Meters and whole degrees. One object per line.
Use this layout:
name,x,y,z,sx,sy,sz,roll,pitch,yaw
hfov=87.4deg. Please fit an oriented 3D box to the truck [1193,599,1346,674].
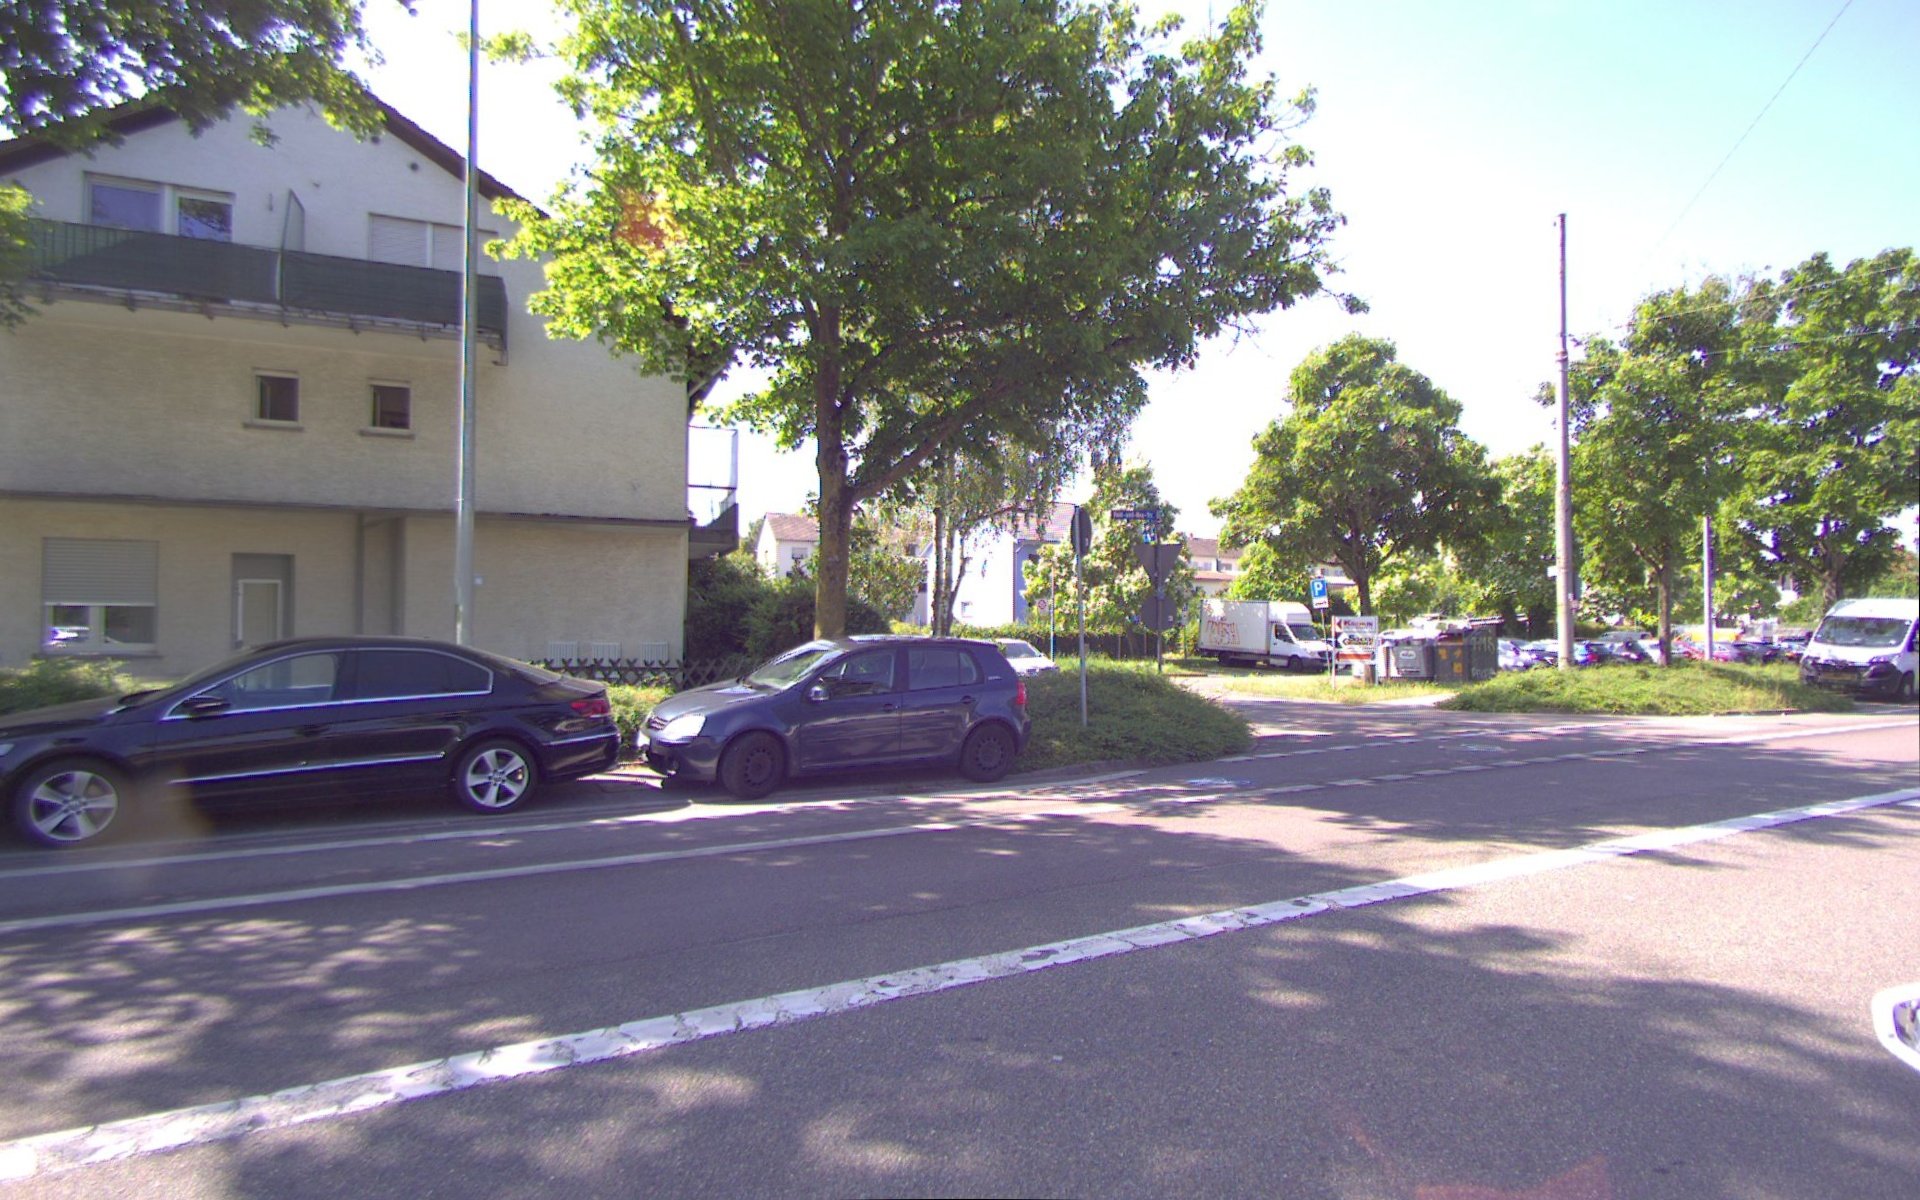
truck,14.235,1.602,46.774,2.206,3.059,7.103,1,1,-31

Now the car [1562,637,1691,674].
car,26.618,2.189,40.264,1.748,1.368,3.973,1,-2,-27

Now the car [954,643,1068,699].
car,1.362,1.946,28.447,1.687,1.437,3.979,1,-2,-23

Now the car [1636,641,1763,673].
car,31.110,2.355,42.366,1.748,1.241,3.973,1,-2,-27

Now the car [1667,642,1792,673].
car,33.342,2.447,43.628,1.748,1.241,3.973,1,-2,-27

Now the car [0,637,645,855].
car,-5.219,1.032,8.341,4.727,1.398,1.682,1,-1,-31

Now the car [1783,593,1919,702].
car,24.014,1.155,25.880,6.227,2.534,2.050,1,1,-28

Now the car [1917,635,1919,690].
car,29.384,1.789,28.745,4.148,1.536,1.835,1,-2,-30

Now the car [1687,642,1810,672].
car,35.220,2.515,44.973,1.748,1.241,3.973,1,-2,-27

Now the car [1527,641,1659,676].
car,24.382,2.211,38.832,1.748,1.241,3.973,1,-2,-27

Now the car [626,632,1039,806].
car,-1.282,1.113,10.496,3.956,1.470,1.634,2,0,-29

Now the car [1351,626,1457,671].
car,22.897,2.495,51.978,1.980,2.040,4.663,2,0,-34

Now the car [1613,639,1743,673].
car,29.059,2.253,40.781,1.748,1.281,3.973,1,-2,-27

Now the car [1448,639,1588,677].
car,19.520,1.995,35.289,1.751,1.241,3.967,1,-2,-31

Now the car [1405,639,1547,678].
car,17.402,1.943,34.055,1.751,1.241,3.967,1,-2,-31

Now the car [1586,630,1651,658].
car,44.898,2.981,68.539,1.535,1.901,3.406,1,-2,-31

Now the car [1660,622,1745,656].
car,50.654,2.640,68.600,1.981,2.040,4.228,2,0,-35

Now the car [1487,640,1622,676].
car,21.778,2.099,36.957,1.748,1.241,3.973,1,-2,-27
